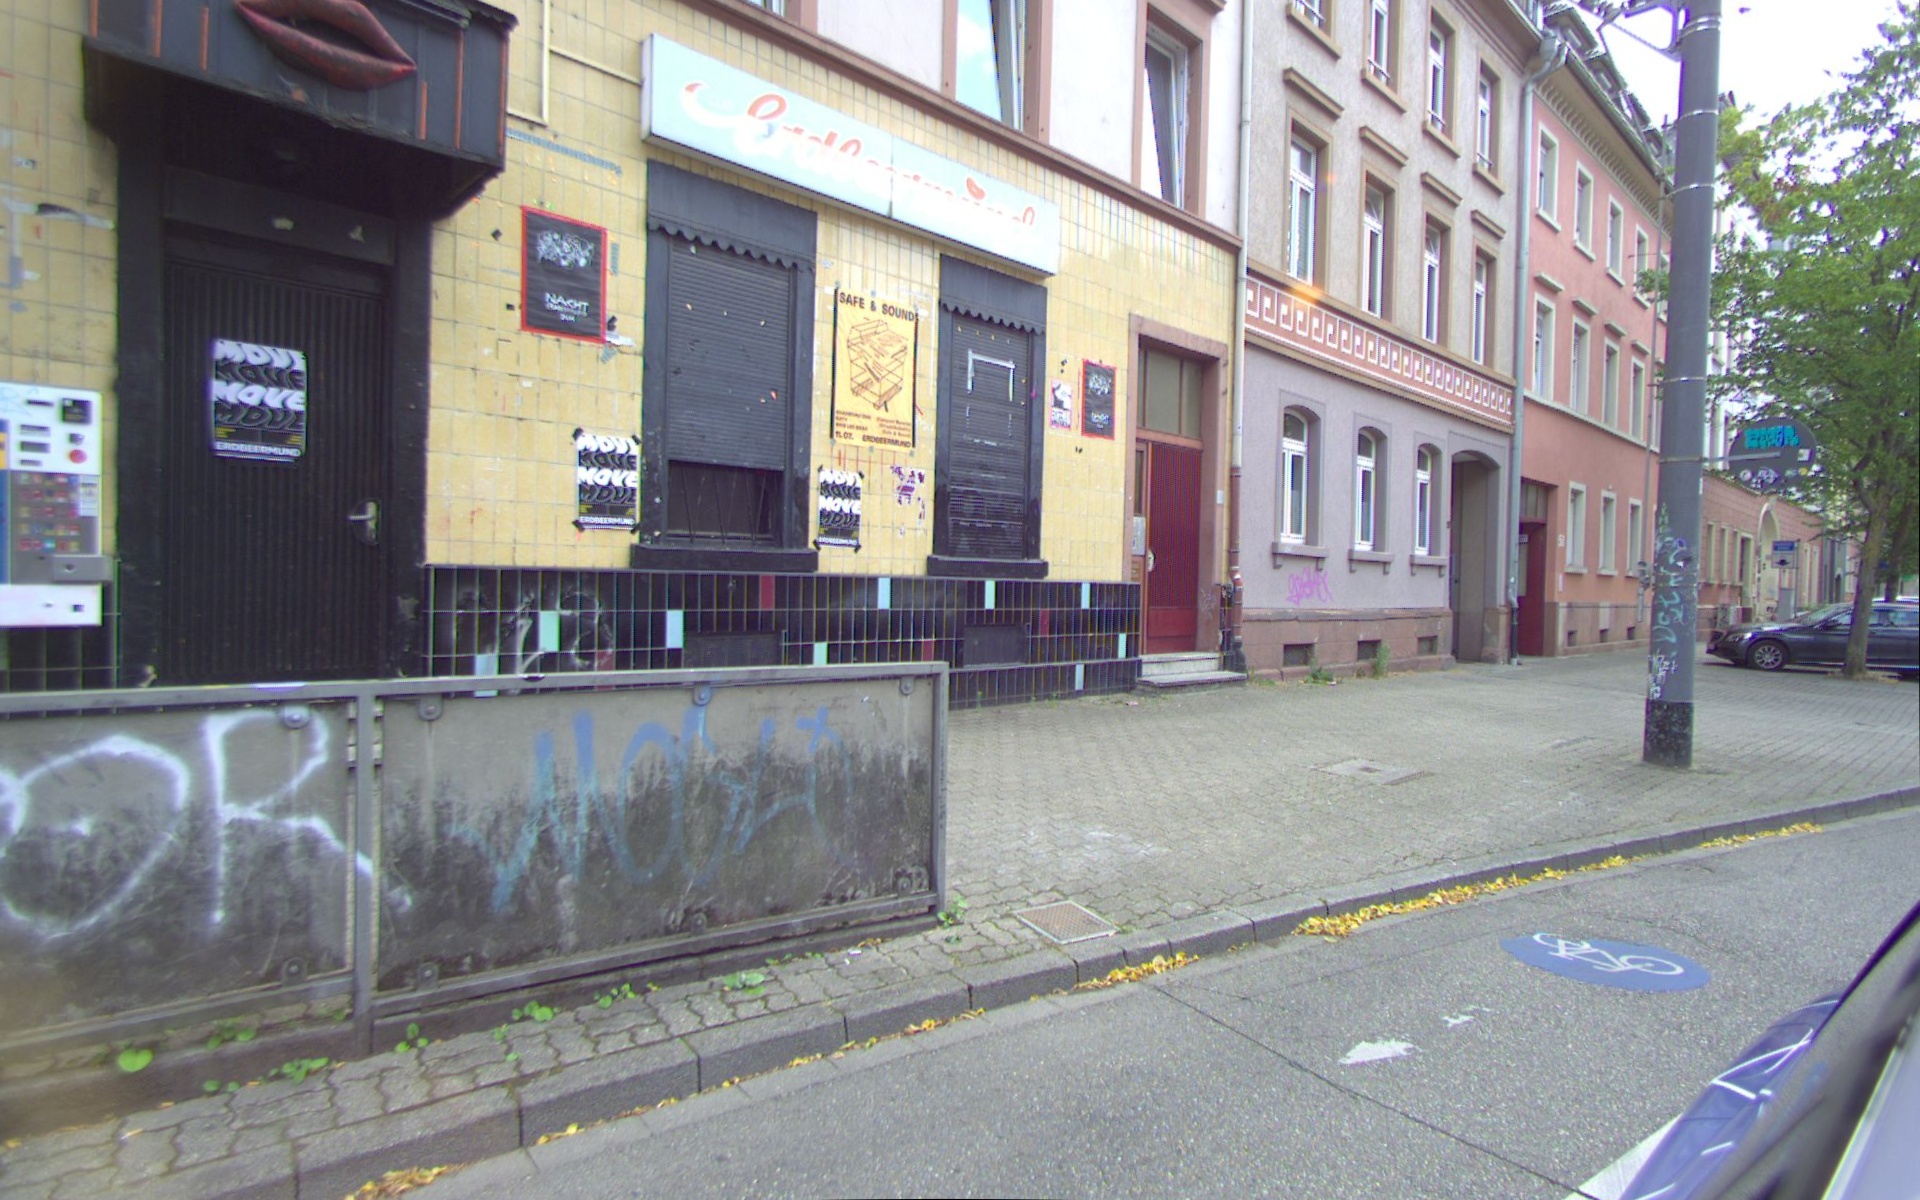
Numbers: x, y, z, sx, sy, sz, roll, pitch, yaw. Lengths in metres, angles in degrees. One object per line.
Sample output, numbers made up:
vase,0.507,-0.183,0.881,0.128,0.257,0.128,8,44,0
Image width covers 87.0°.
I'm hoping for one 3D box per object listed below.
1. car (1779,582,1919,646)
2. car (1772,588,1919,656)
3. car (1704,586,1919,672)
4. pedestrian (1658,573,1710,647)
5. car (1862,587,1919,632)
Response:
car,27.689,0.426,30.555,4.196,1.719,1.725,3,2,25
car,23.137,0.559,25.089,4.301,1.498,1.774,3,2,25
car,18.028,0.582,20.368,4.581,1.491,1.774,3,2,25
pedestrian,17.775,0.235,24.830,0.910,1.708,0.732,1,4,-42
car,39.388,0.448,40.415,4.581,1.719,1.901,3,2,25
